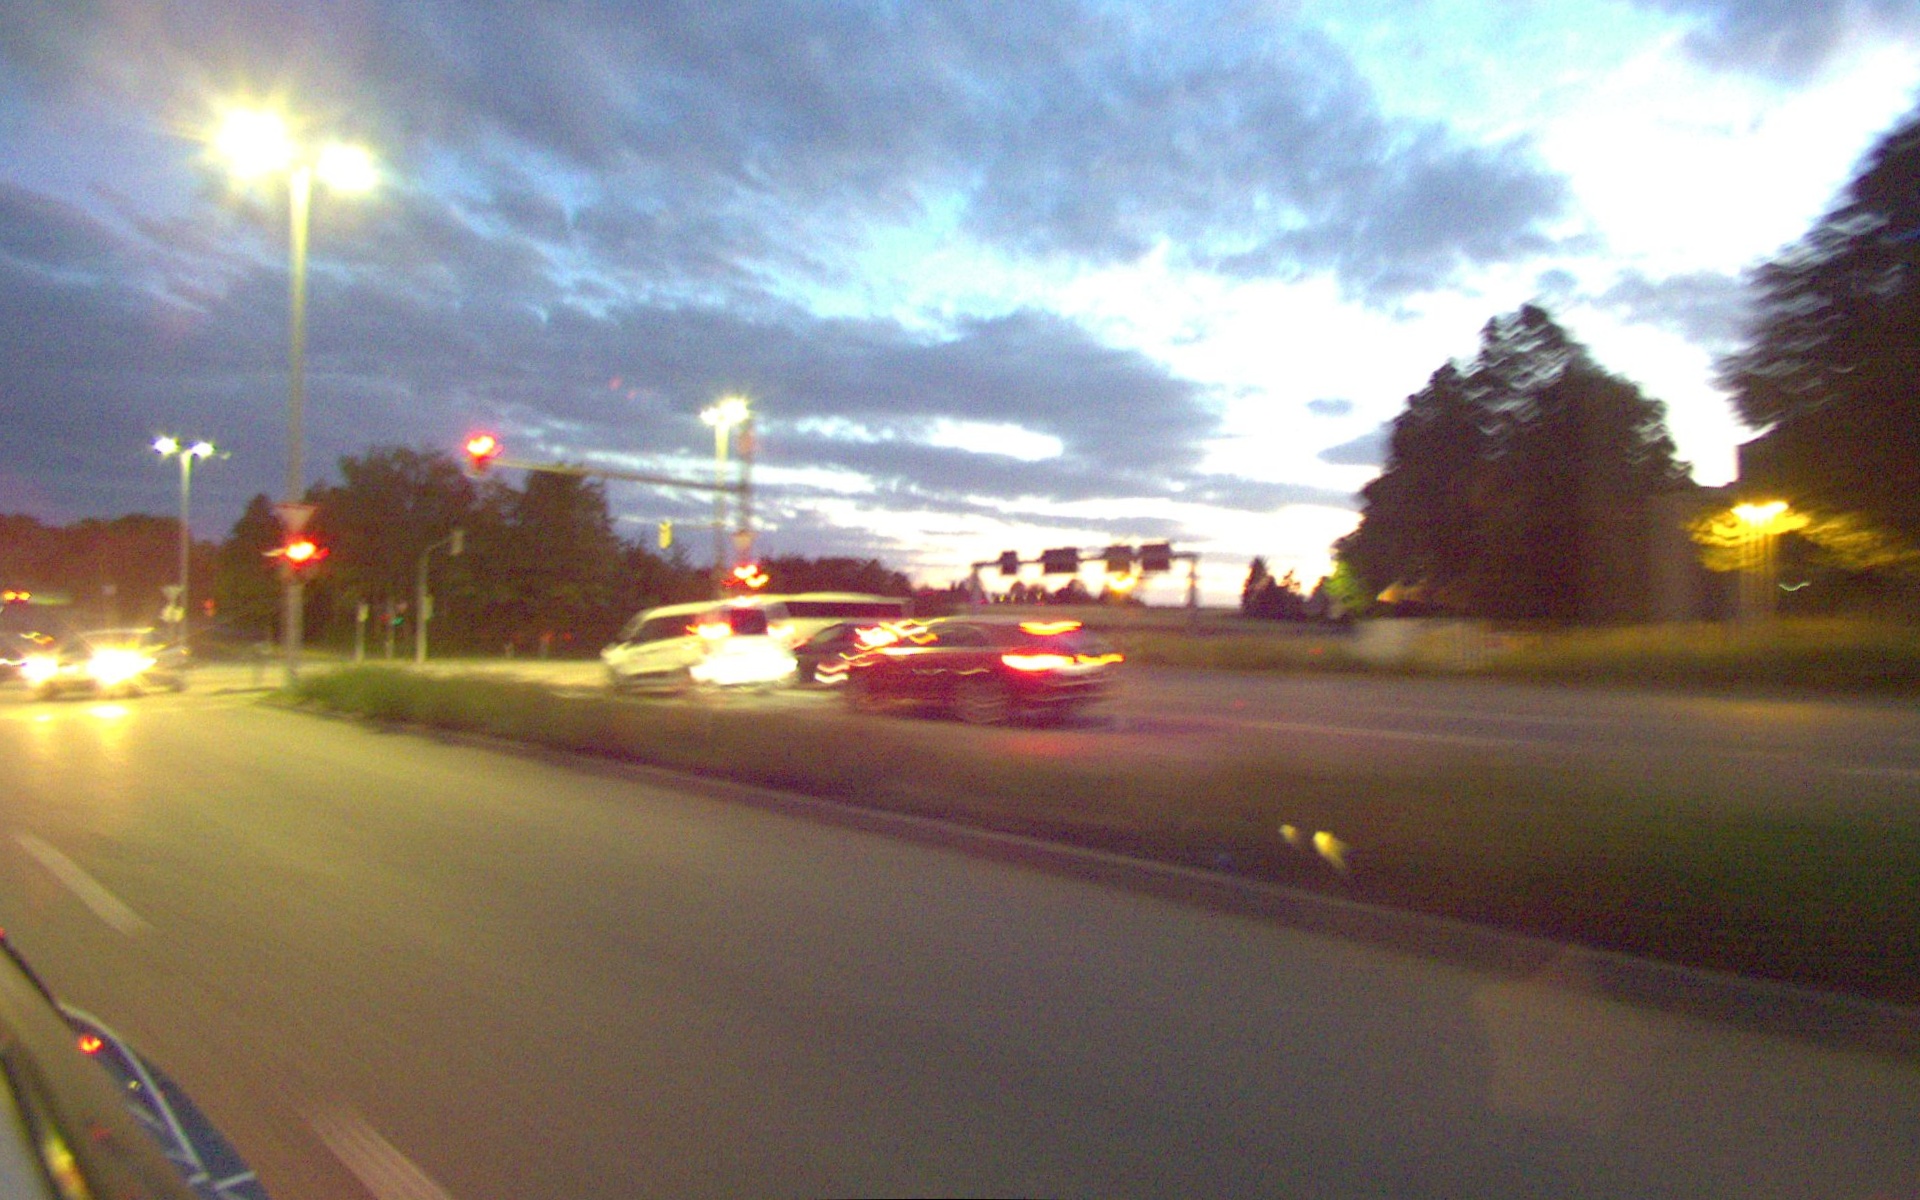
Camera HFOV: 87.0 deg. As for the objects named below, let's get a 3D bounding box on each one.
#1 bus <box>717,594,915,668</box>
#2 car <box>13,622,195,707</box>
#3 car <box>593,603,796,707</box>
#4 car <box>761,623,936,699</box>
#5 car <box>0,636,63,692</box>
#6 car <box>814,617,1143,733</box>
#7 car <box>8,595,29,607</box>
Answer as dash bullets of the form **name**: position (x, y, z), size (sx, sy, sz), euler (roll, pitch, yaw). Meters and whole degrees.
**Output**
- **bus**: position (-7.866, 1.750, 57.593), size (2.616, 3.819, 12.098), euler (-4, -4, 44)
- **car**: position (-18.849, 1.387, 22.545), size (1.642, 1.666, 4.424), euler (0, -2, -20)
- **car**: position (-5.393, 1.065, 20.154), size (1.822, 1.828, 4.778), euler (2, -3, -44)
- **car**: position (-2.429, 1.253, 21.457), size (1.748, 1.458, 3.783), euler (2, -3, -44)
- **car**: position (-26.460, 1.724, 27.109), size (1.646, 1.492, 3.778), euler (-1, -3, -3)
- **car**: position (0.096, 0.993, 14.651), size (4.840, 1.408, 1.849), euler (-2, -3, 45)
- **car**: position (-126.020, 0.158, 135.434), size (4.059, 1.585, 1.716), euler (-1, 0, 42)
